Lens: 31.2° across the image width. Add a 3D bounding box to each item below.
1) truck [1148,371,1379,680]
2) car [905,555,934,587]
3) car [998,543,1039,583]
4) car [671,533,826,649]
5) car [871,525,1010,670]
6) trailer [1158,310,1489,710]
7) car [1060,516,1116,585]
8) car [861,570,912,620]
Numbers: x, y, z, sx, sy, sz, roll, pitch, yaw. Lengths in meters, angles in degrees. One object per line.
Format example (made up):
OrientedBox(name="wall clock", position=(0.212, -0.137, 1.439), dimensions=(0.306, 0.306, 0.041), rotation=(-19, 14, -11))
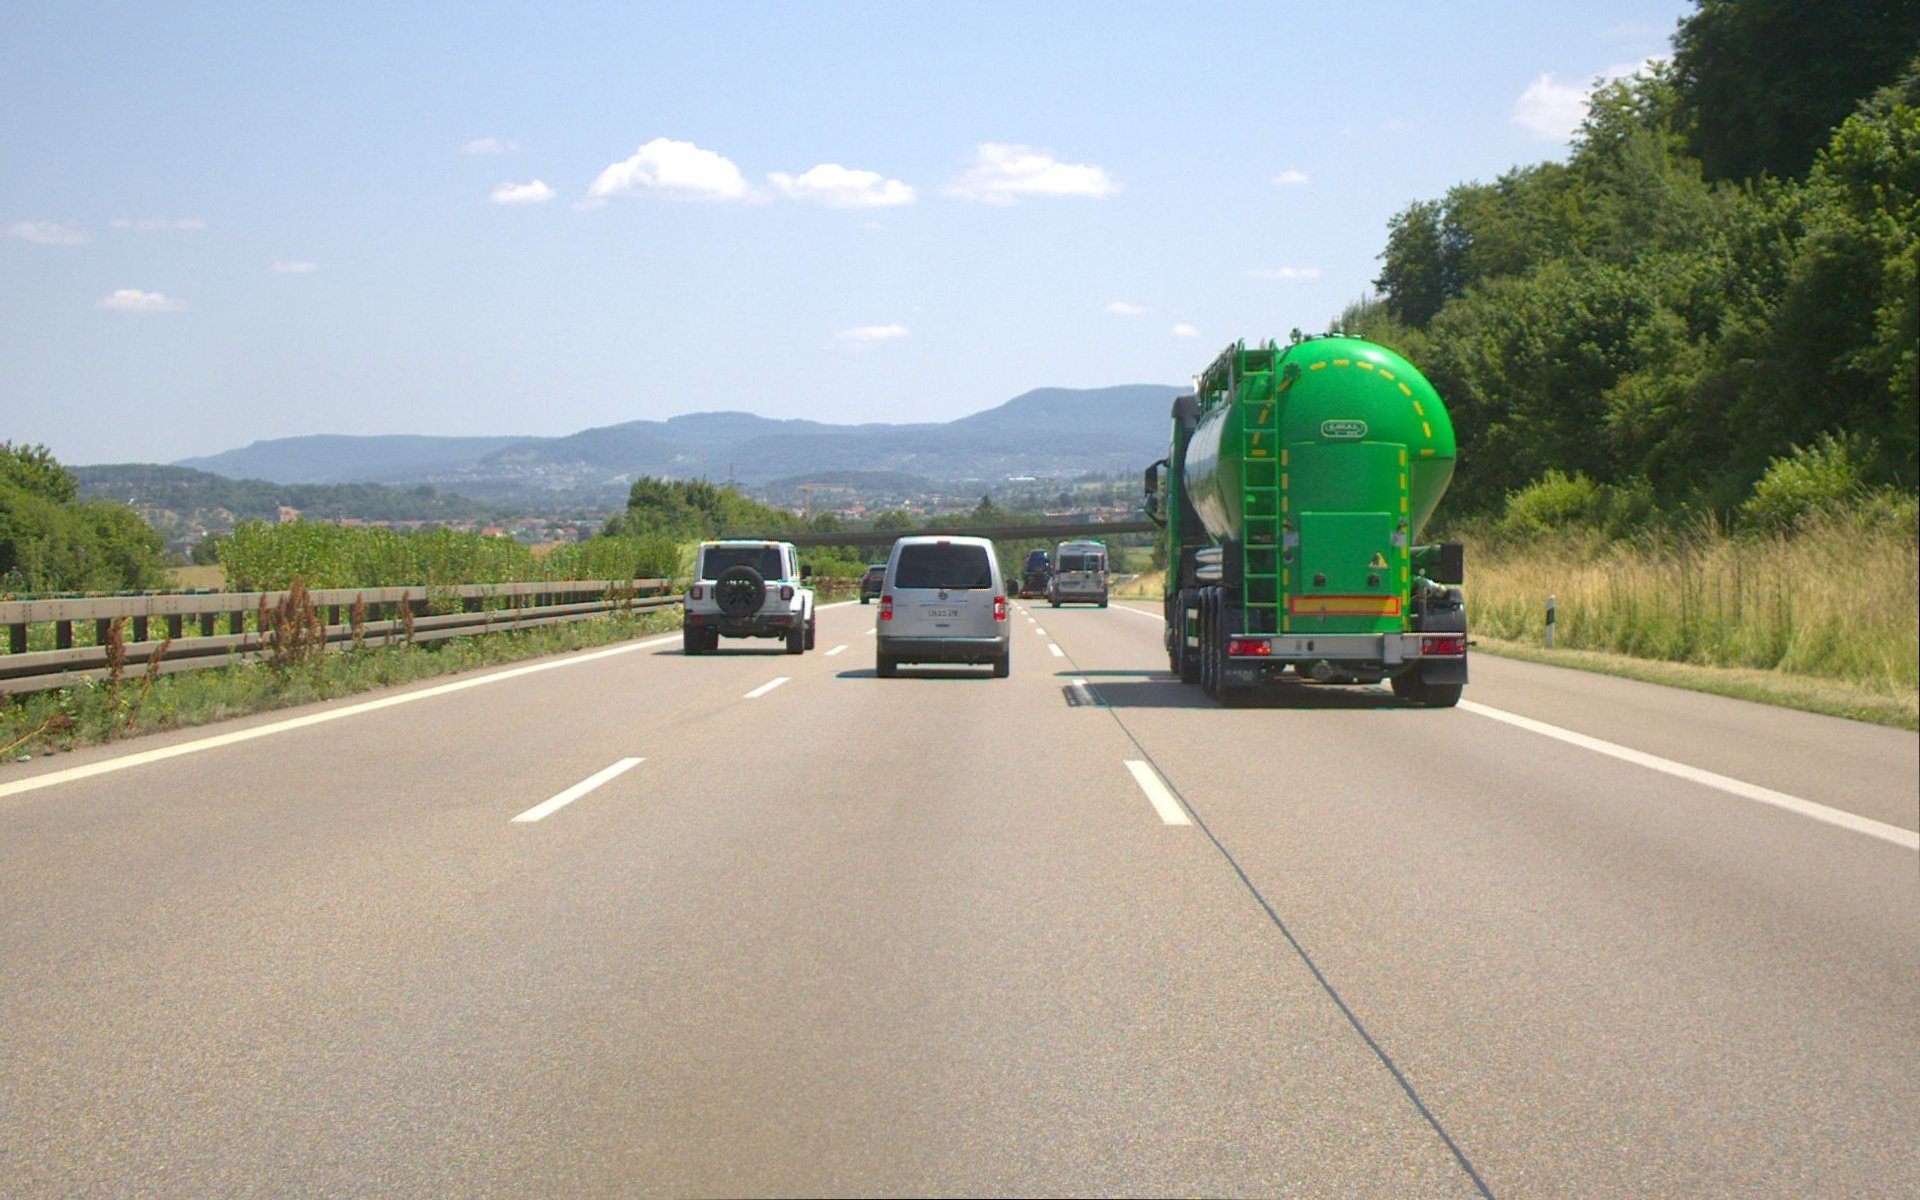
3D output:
OrientedBox(name="truck", position=(3.916, -0.966, 45.318), dimensions=(2.509, 3.828, 4.893), rotation=(1, 1, -1))
OrientedBox(name="car", position=(-2.561, -1.863, 218.772), dimensions=(1.698, 2.007, 3.822), rotation=(1, 1, 1))
OrientedBox(name="car", position=(2.333, -1.475, 135.973), dimensions=(1.446, 1.545, 3.356), rotation=(1, 1, 4))
OrientedBox(name="car", position=(-3.456, -0.185, 57.039), dimensions=(2.083, 1.823, 4.753), rotation=(1, 1, 2))
OrientedBox(name="car", position=(-0.291, -0.074, 46.019), dimensions=(1.745, 1.823, 4.801), rotation=(1, 1, -1))
OrientedBox(name="trailer", position=(3.980, -0.998, 40.041), dimensions=(2.587, 4.014, 10.471), rotation=(1, 1, -1))
OrientedBox(name="car", position=(4.910, -1.927, 132.741), dimensions=(2.089, 2.567, 6.622), rotation=(1, 1, 2))
OrientedBox(name="car", position=(-3.110, -0.221, 145.789), dimensions=(1.993, 2.007, 4.000), rotation=(1, 1, 1))
